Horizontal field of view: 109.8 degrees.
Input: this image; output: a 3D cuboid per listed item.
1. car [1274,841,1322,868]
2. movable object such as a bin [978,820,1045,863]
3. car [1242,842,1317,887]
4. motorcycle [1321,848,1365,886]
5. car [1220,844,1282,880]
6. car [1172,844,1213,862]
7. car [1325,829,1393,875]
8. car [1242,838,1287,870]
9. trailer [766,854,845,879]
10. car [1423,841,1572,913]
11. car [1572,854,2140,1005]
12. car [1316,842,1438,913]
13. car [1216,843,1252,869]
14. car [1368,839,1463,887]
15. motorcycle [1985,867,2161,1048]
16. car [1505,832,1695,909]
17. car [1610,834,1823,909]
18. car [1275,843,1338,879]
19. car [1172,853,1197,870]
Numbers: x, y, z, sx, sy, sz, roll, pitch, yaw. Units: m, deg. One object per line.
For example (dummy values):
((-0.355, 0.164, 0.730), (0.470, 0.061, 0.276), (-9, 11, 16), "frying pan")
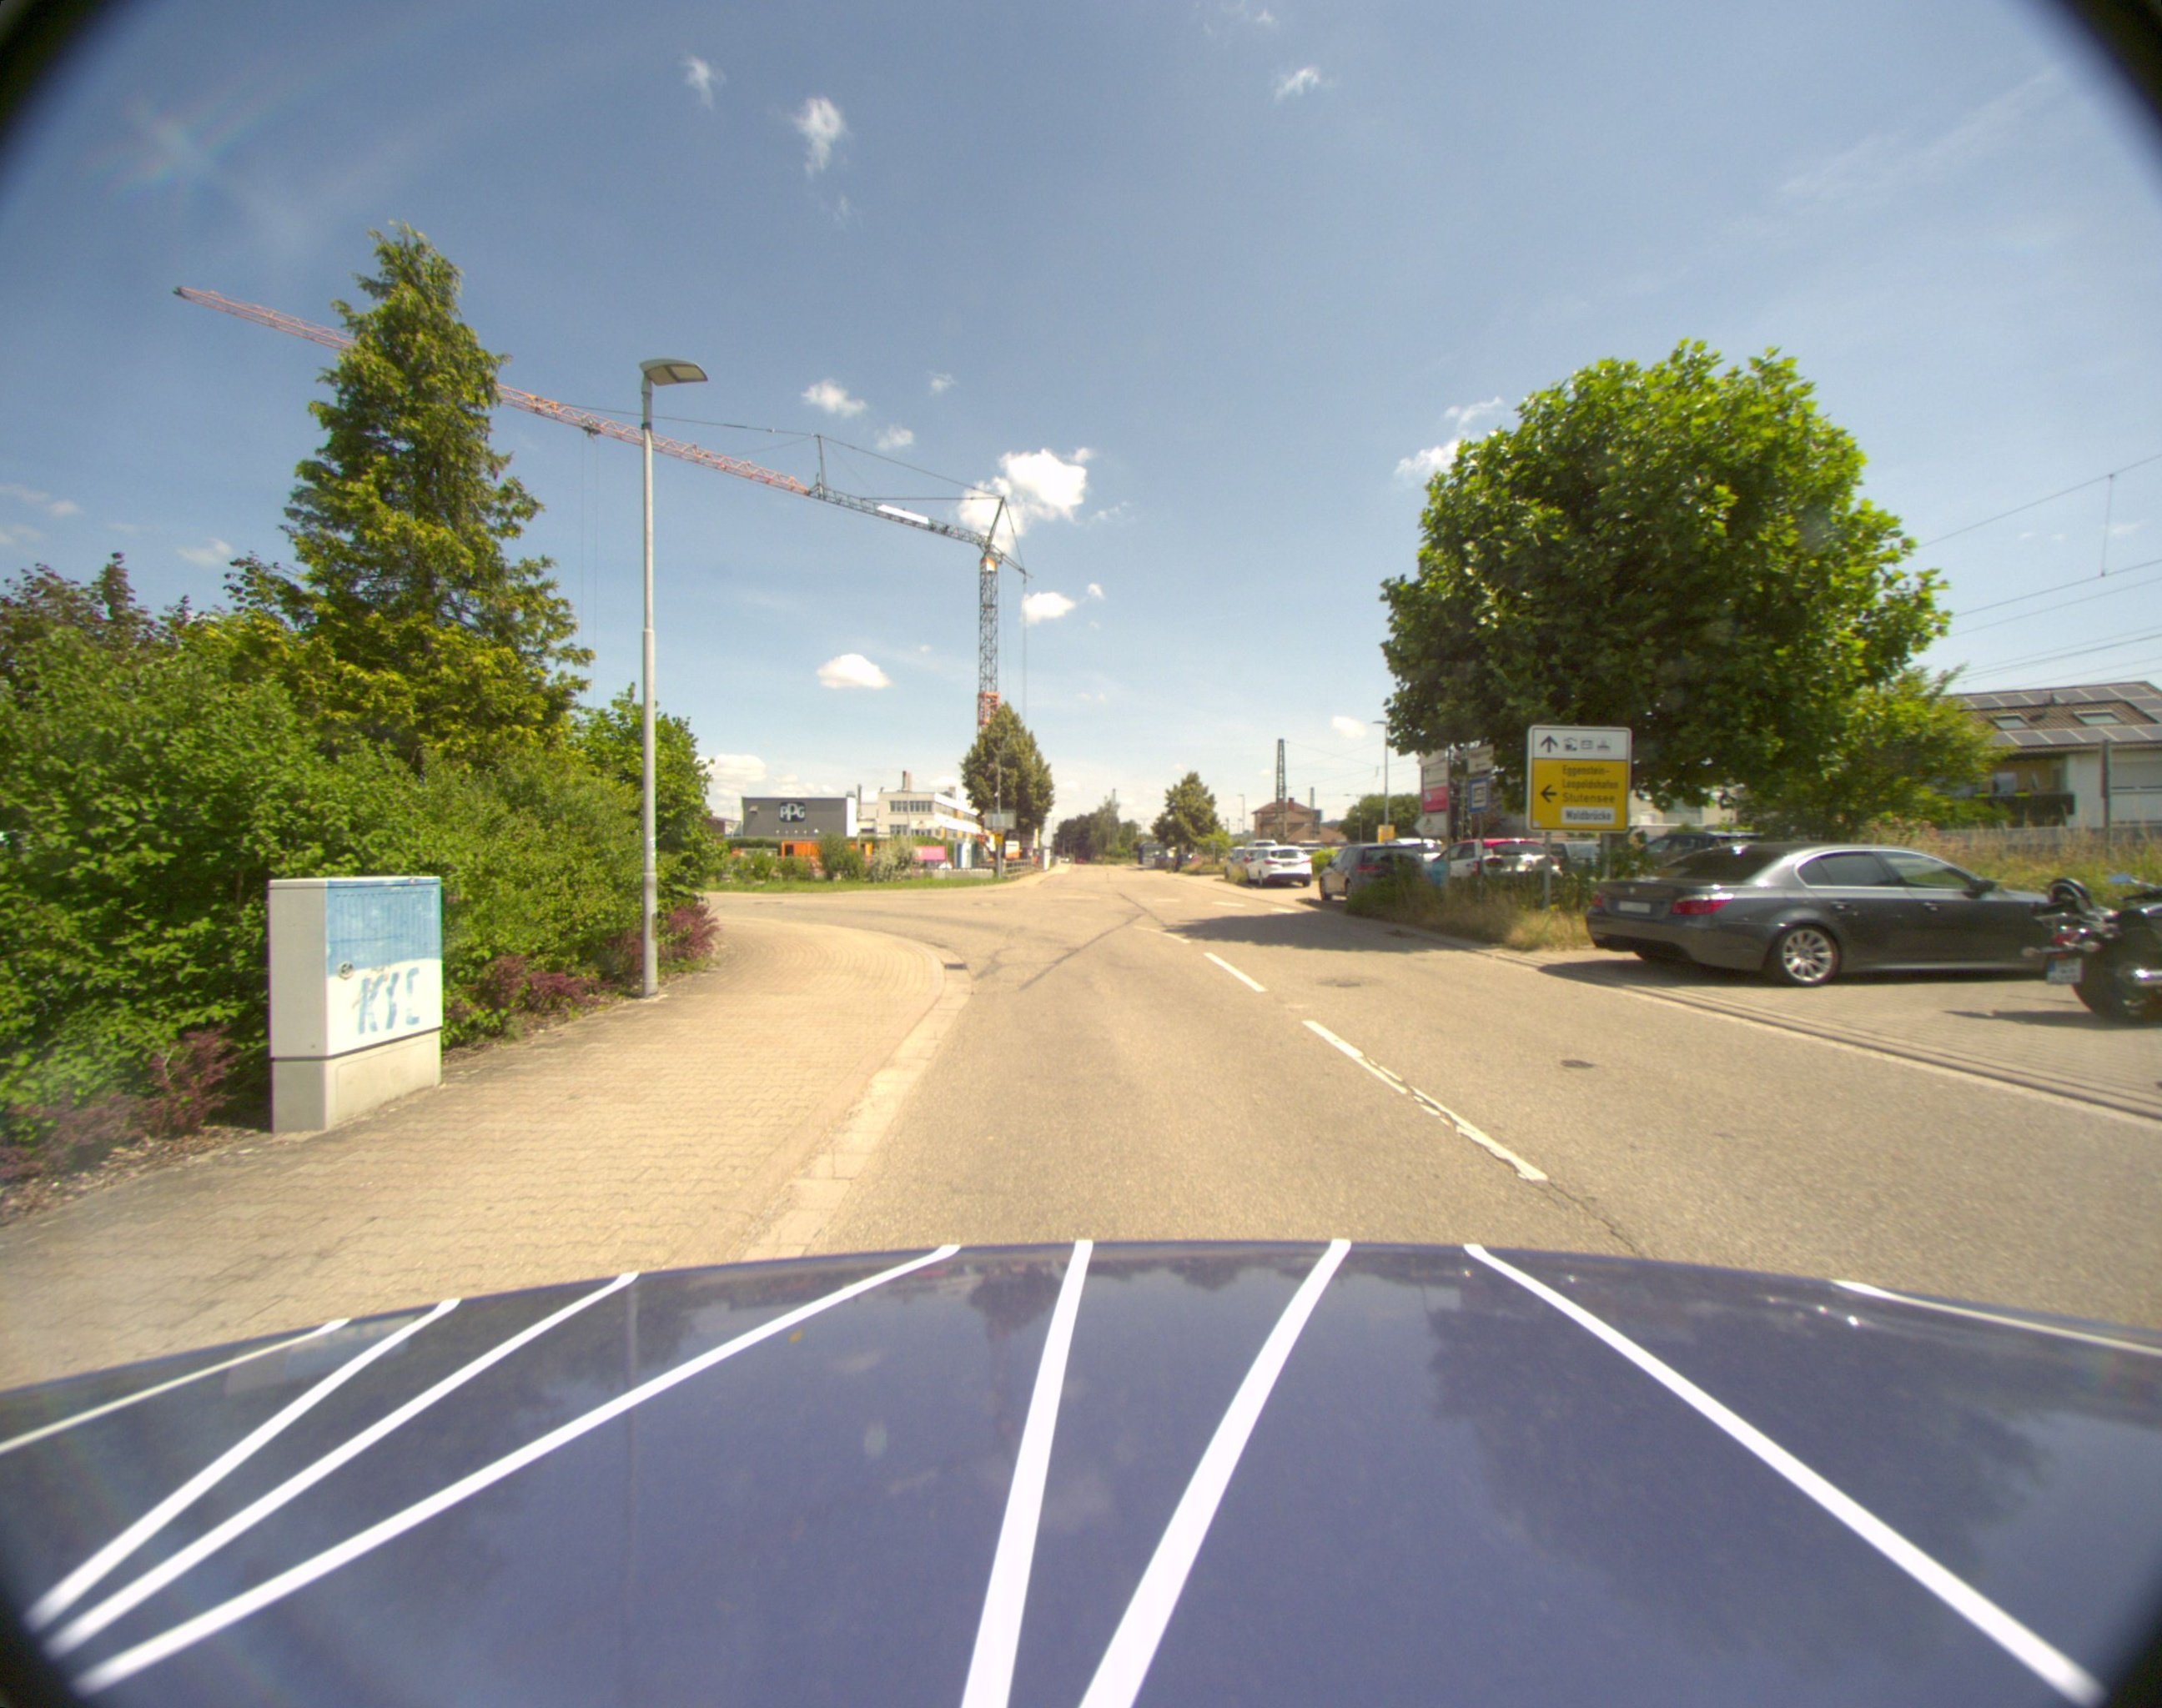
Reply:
((13.161, 0.008, 46.340), (1.952, 1.600, 4.273), (0, 1, 4), "car")
((-5.791, -1.061, 62.927), (5.133, 3.277, 2.390), (0, 6, -18), "movable object such as a bin")
((7.337, 0.344, 28.543), (1.808, 1.555, 4.262), (0, 1, 2), "car")
((9.929, 0.469, 28.920), (0.739, 1.365, 3.214), (0, 1, 4), "motorcycle")
((7.623, 0.327, 34.430), (1.795, 1.535, 3.959), (0, 1, -2), "car")
((10.262, -0.124, 69.917), (3.438, 1.583, 1.648), (0, 3, -7), "car")
((12.837, -0.092, 35.376), (1.850, 2.002, 4.000), (0, 1, 3), "car")
((10.661, -0.015, 44.320), (1.952, 1.822, 3.836), (0, 1, 4), "car")
((-20.715, 0.897, 57.311), (5.402, 1.769, 1.819), (0, 3, -14), "trailer")
((9.591, 0.467, 17.838), (1.795, 1.528, 3.579), (0, 1, 5), "car")
((8.023, 0.711, 8.149), (4.439, 1.402, 1.787), (0, 1, -4), "car")
((6.952, 0.483, 18.295), (1.688, 1.522, 4.064), (0, 1, 5), "car")
((10.418, 0.135, 51.999), (1.732, 1.676, 4.000), (1, 1, 1), "car")
((12.305, 0.289, 28.264), (1.998, 1.648, 4.263), (0, 1, 5), "car")
((8.679, 0.747, 5.815), (2.731, 1.273, 0.718), (0, 1, -2), "motorcycle")
((12.112, 0.324, 18.112), (1.998, 1.628, 4.088), (0, 1, 5), "car")
((15.273, 0.352, 18.614), (1.998, 1.628, 4.087), (0, 1, 4), "car")
((10.195, 0.282, 34.647), (1.804, 1.555, 4.263), (0, 1, 3), "car")
((8.421, 0.606, 62.109), (1.608, 1.342, 4.000), (0, 1, 1), "car")
